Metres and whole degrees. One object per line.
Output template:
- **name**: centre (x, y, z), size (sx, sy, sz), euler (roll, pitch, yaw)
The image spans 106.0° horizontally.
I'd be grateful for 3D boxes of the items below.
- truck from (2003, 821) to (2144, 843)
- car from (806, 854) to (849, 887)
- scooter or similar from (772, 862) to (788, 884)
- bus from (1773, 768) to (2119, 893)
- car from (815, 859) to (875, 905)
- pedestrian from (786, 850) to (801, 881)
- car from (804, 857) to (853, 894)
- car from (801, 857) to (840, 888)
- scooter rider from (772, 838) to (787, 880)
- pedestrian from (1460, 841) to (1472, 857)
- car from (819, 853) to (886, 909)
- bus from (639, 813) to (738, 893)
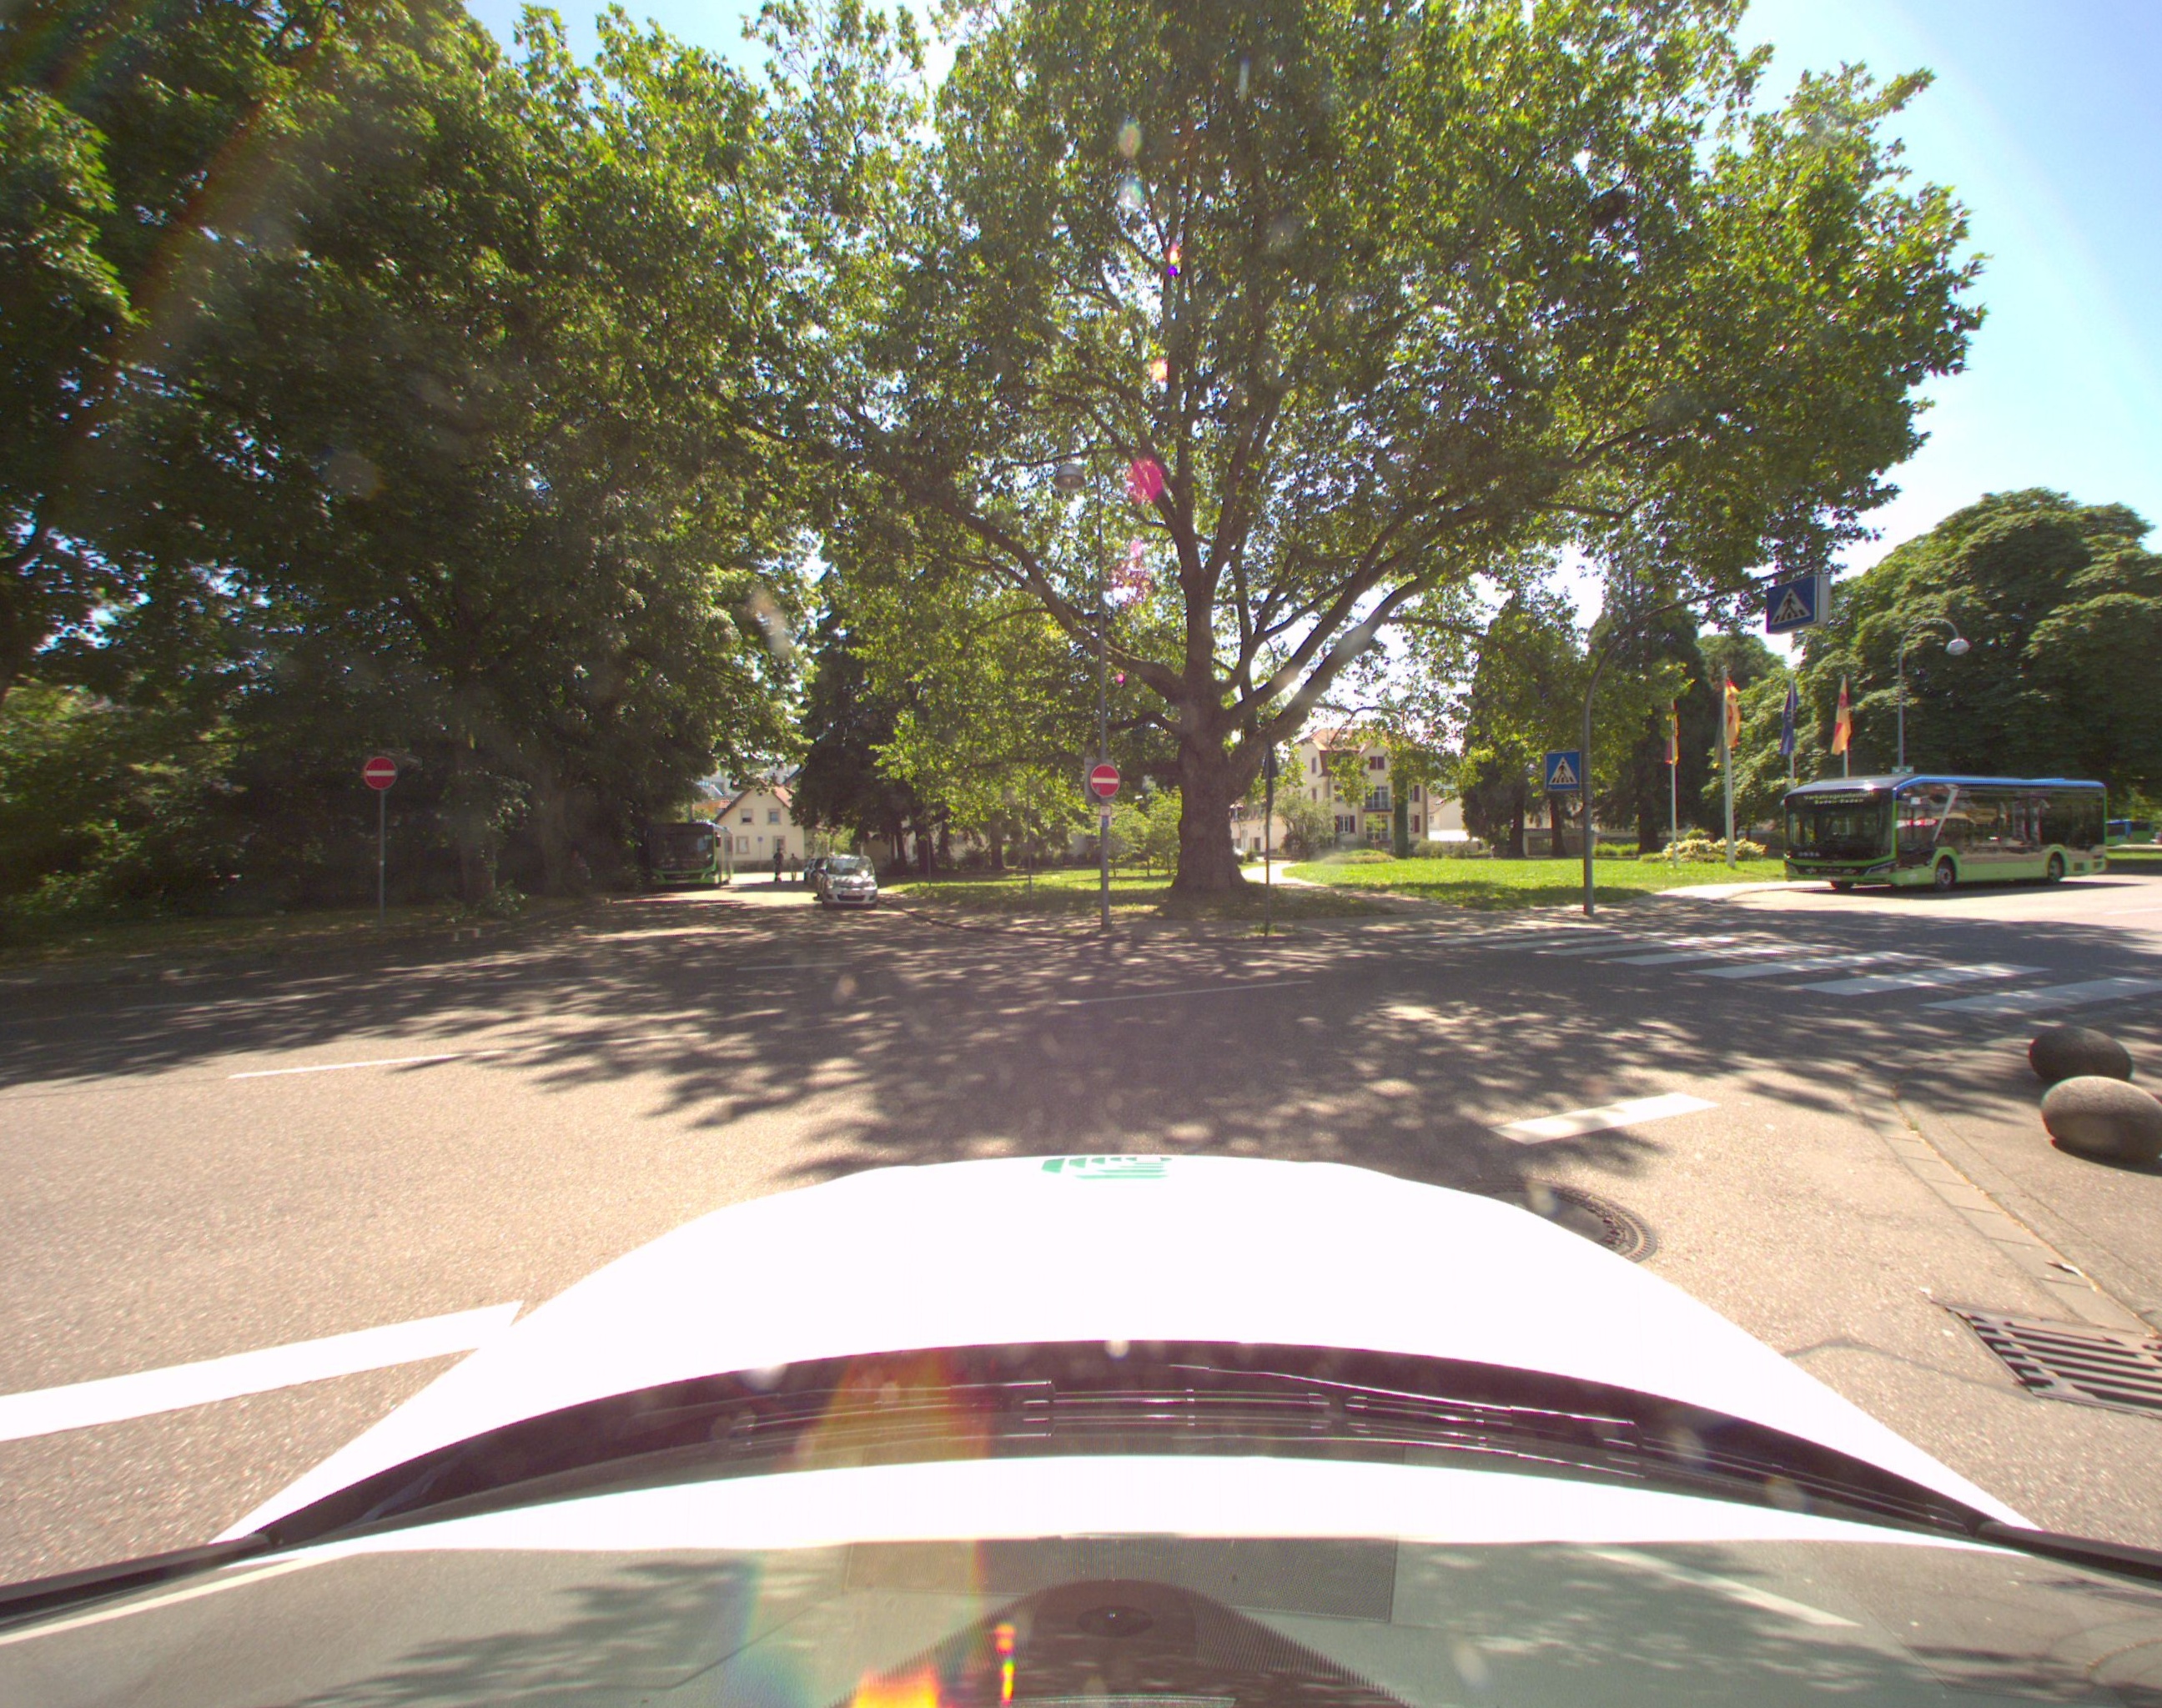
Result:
- **truck**: centre (114.915, -2.485, 94.720), size (2.271, 2.349, 11.358), euler (-1, 0, -2)
- **car**: centre (-12.327, 0.752, 39.427), size (1.760, 1.493, 4.345), euler (-1, 0, -20)
- **scooter or similar**: centre (-16.646, 1.031, 45.033), size (0.741, 1.183, 1.509), euler (-1, 1, -19)
- **bus**: centre (26.614, -0.759, 24.858), size (12.430, 3.282, 2.798), euler (-1, 1, -21)
- **car**: centre (-8.402, 0.916, 28.776), size (1.756, 1.439, 4.472), euler (0, 0, -20)
- **pedestrian**: centre (-17.084, 0.678, 48.385), size (0.721, 1.802, 0.936), euler (-1, 0, -15)
- **car**: centre (-10.896, 0.854, 34.919), size (1.756, 1.439, 4.737), euler (-1, 0, -20)
- **car**: centre (-13.838, 0.939, 43.208), size (1.760, 1.493, 3.891), euler (-1, 0, -21)
- **scooter rider**: centre (-16.661, 0.263, 45.041), size (0.741, 2.317, 0.921), euler (-1, 0, -19)
- **pedestrian**: centre (33.225, -0.430, 70.314), size (0.817, 1.370, 0.622), euler (2, 2, 29)
- **car**: centre (-6.707, 0.733, 23.692), size (1.600, 1.497, 3.462), euler (0, 0, -20)
- **bus**: centre (-19.464, -0.076, 41.382), size (2.878, 3.295, 15.843), euler (-1, 0, -20)
